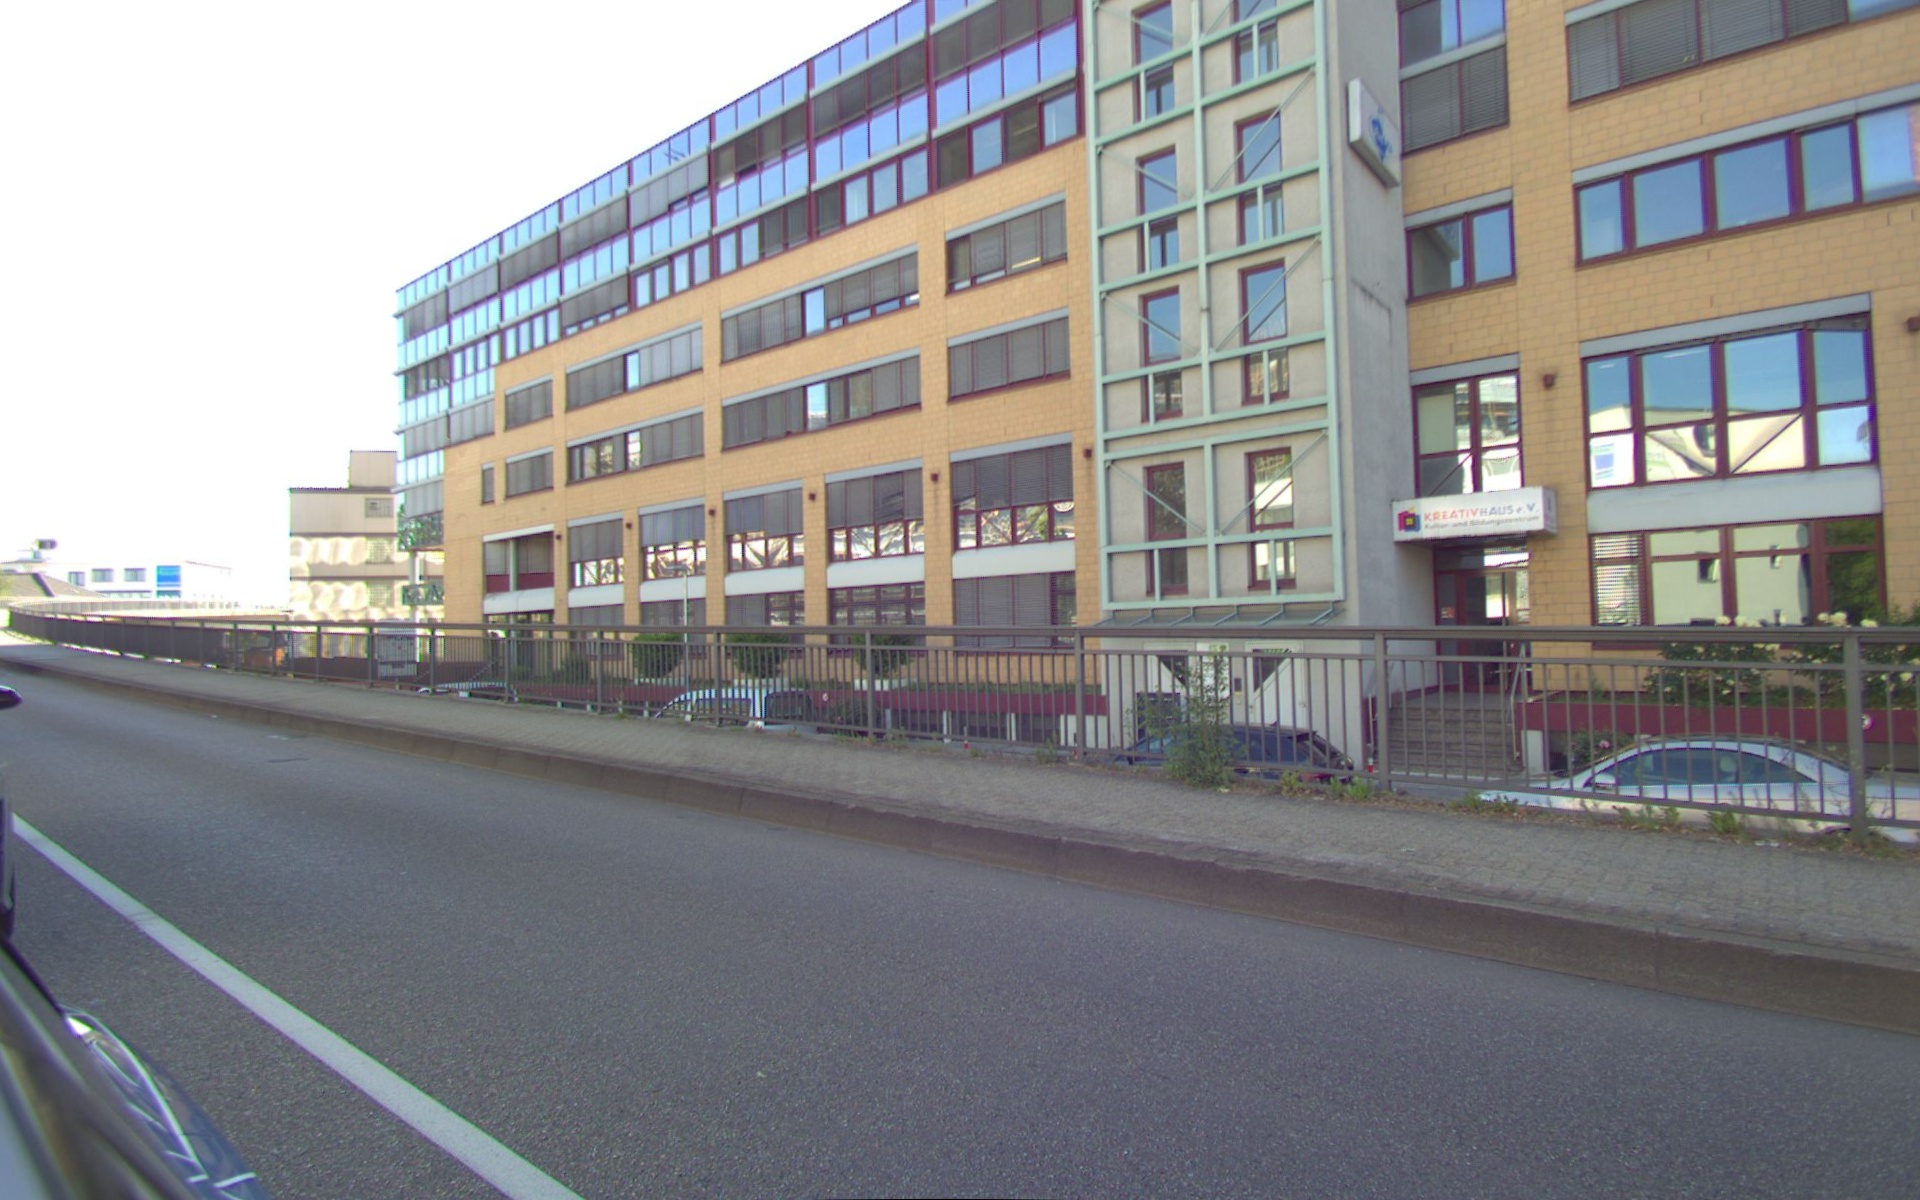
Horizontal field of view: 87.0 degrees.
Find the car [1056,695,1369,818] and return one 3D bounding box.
[{"bbox_3d":[3.305,1.994,13.643,3.805,1.279,1.560,-3,-4,40],"label":"car"}]

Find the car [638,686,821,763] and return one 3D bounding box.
[{"bbox_3d":[-4.636,2.409,20.148,3.805,1.279,1.560,-3,-4,40],"label":"car"}]

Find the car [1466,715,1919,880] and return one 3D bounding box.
[{"bbox_3d":[7.646,1.883,10.230,4.254,1.175,1.704,-3,-4,40],"label":"car"}]

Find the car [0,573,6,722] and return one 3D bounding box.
[{"bbox_3d":[-5.881,0.764,4.680,3.998,1.660,1.726,-3,-4,41],"label":"car"}]

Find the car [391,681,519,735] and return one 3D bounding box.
[{"bbox_3d":[-13.839,2.903,27.675,3.805,1.279,1.744,-3,-4,39],"label":"car"}]
